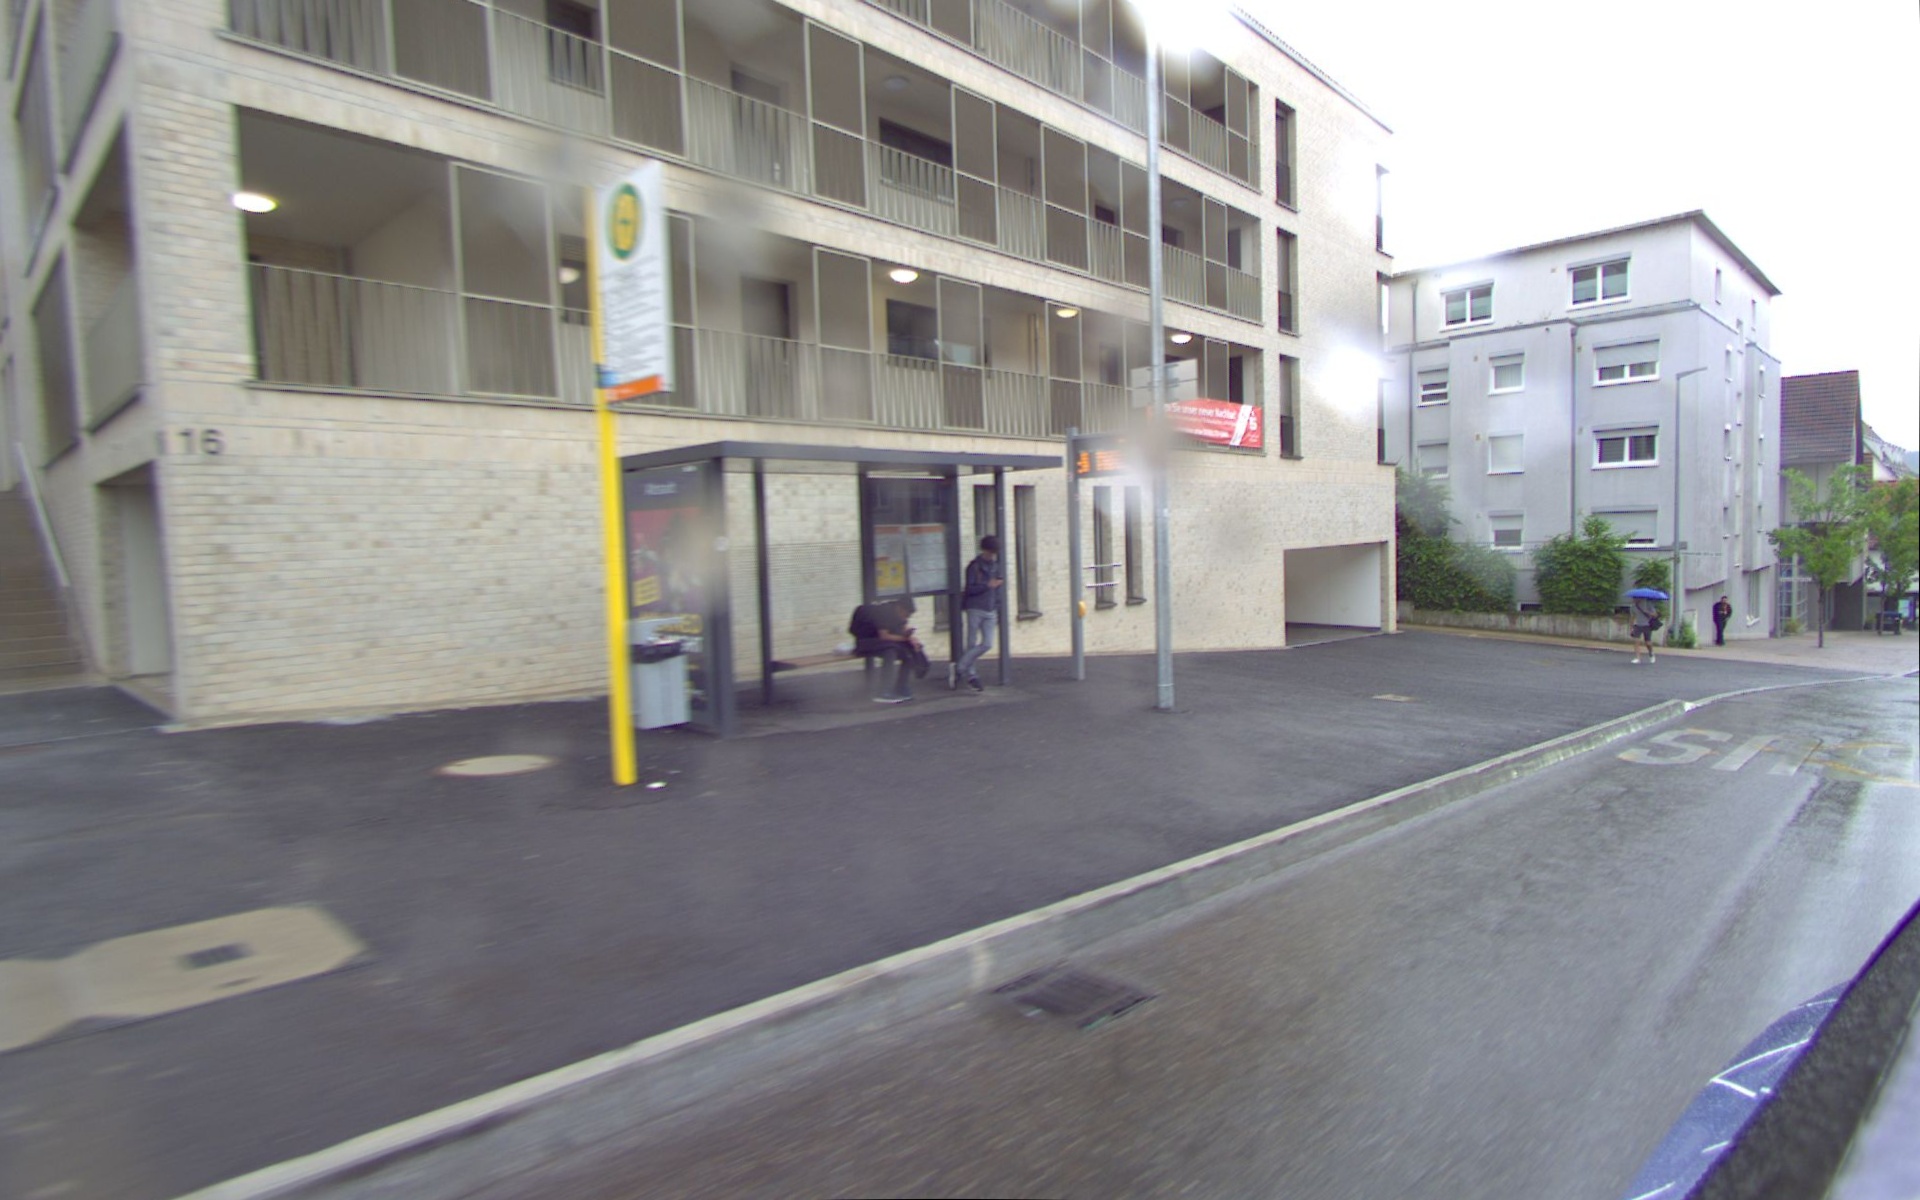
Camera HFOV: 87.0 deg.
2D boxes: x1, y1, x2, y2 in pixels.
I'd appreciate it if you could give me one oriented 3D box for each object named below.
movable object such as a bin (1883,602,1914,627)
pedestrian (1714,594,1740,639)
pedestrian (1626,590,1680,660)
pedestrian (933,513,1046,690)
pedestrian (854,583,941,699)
[{"bbox_3d":[55.747,0.859,60.116,1.152,1.351,1.237,1,2,-42],"label":"movable object such as a bin"},{"bbox_3d":[27.577,0.579,36.379,0.689,1.575,0.700,1,0,40],"label":"pedestrian"},{"bbox_3d":[16.533,0.581,24.137,1.020,1.560,0.737,0,4,-41],"label":"pedestrian"},{"bbox_3d":[0.346,-0.005,11.861,1.004,1.964,0.783,0,2,-44],"label":"pedestrian"},{"bbox_3d":[-0.680,0.417,10.944,0.624,1.176,0.673,0,2,-44],"label":"pedestrian"}]
